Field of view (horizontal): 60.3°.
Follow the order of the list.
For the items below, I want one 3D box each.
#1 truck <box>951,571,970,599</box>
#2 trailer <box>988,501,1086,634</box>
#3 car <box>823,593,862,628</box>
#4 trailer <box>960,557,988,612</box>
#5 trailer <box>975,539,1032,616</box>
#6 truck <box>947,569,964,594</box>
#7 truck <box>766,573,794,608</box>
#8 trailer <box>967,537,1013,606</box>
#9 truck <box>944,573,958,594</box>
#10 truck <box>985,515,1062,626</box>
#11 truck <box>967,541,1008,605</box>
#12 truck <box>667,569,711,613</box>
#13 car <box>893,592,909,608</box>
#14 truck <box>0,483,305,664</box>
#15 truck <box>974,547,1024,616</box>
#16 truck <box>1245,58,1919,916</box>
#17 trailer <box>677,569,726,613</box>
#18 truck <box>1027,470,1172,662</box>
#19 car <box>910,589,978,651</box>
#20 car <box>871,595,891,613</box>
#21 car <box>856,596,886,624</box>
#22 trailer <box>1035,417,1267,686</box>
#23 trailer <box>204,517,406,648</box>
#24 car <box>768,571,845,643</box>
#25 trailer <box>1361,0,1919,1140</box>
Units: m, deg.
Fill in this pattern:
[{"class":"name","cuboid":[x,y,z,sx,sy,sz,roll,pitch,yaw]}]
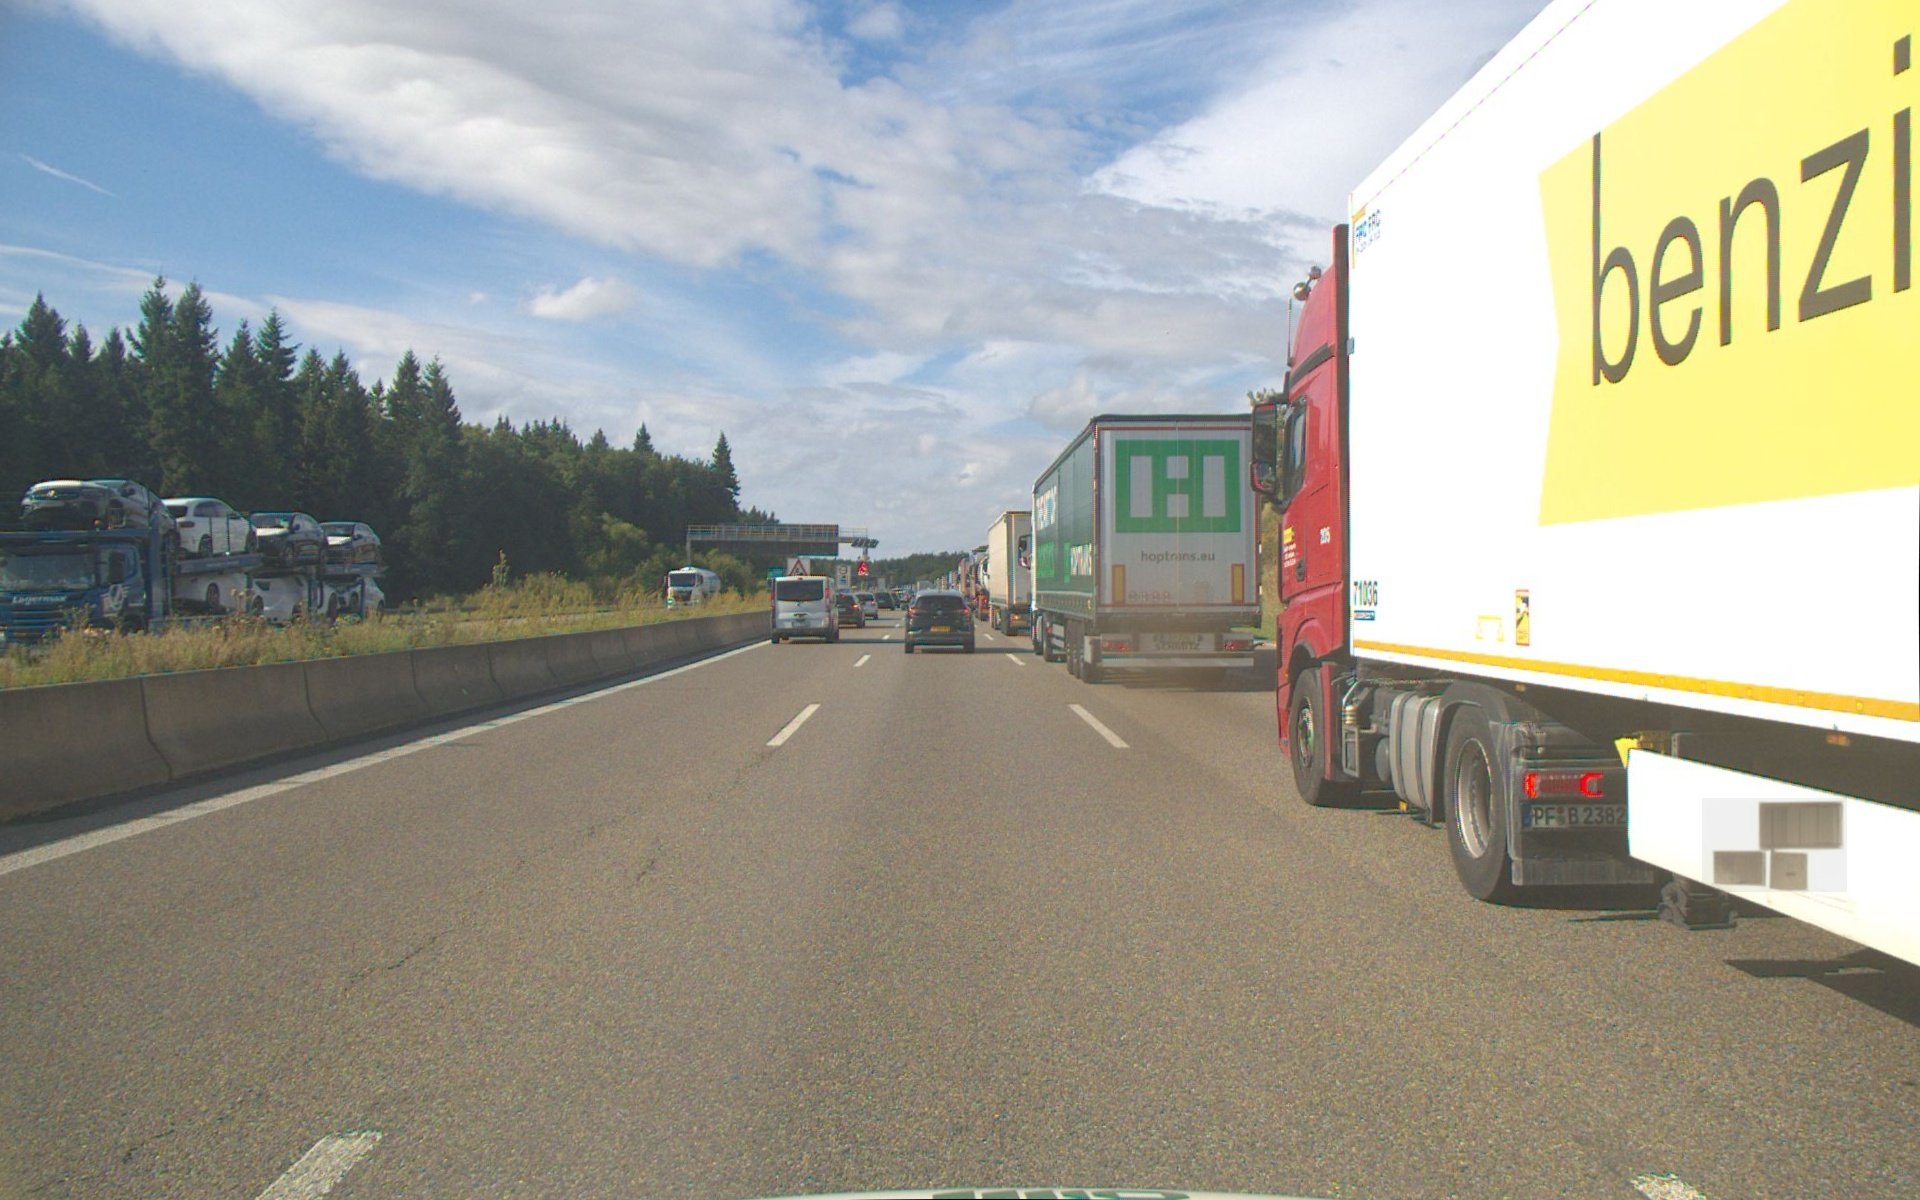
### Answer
[{"class":"truck","cuboid":[-0.007,-1.639,182.868,1.953,2.983,4.981,3,0,0]},{"class":"trailer","cuboid":[2.547,-1.077,58.938,2.648,4.153,12.942,-1,0,-1]},{"class":"car","cuboid":[-4.946,0.419,70.092,1.469,1.420,3.475,0,0,-1]},{"class":"trailer","cuboid":[1.091,-1.208,133.971,2.106,4.333,8.439,0,0,0]},{"class":"trailer","cuboid":[2.164,-1.084,85.441,2.489,3.717,10.625,-1,0,-1]},{"class":"truck","cuboid":[-0.605,-2.313,210.195,1.953,3.105,4.981,3,0,0]},{"class":"truck","cuboid":[-22.693,-1.142,209.176,2.656,4.318,10.341,-1,0,-2]},{"class":"trailer","cuboid":[1.920,-1.825,110.477,2.745,4.318,11.056,-1,0,0]},{"class":"truck","cuboid":[-1.392,-2.573,254.511,1.953,3.105,4.981,3,0,0]},{"class":"truck","cuboid":[2.451,-1.114,65.641,2.653,4.130,6.360,-1,0,-1]},{"class":"truck","cuboid":[1.884,-1.828,115.554,2.729,4.321,6.459,-1,0,0]},{"class":"truck","cuboid":[-20.612,-0.680,126.158,2.270,3.331,6.105,0,0,0]},{"class":"car","cuboid":[-5.312,-0.010,149.275,1.406,1.333,3.532,3,0,-1]},{"class":"truck","cuboid":[-19.361,-0.552,40.067,2.774,3.753,11.129,0,0,-1]},{"class":"truck","cuboid":[2.081,-1.008,91.267,2.482,3.646,6.728,-1,0,-1]},{"class":"truck","cuboid":[3.783,-0.521,10.697,2.745,4.008,5.824,1,0,-1]},{"class":"trailer","cuboid":[-20.587,-0.705,132.173,2.274,3.342,10.875,0,0,0]},{"class":"truck","cuboid":[3.010,-0.702,37.505,2.593,3.936,6.995,0,0,-1]},{"class":"car","cuboid":[-0.419,0.496,42.505,1.662,1.509,4.159,0,0,-1]},{"class":"car","cuboid":[-6.196,0.277,129.972,1.406,1.333,3.532,3,0,-1]},{"class":"car","cuboid":[-4.828,0.536,89.910,1.469,1.420,3.475,3,0,-1]},{"class":"trailer","cuboid":[3.115,-0.711,31.004,2.607,3.936,13.392,0,0,-1]},{"class":"trailer","cuboid":[-19.586,-0.494,50.161,2.742,3.590,8.951,0,0,-1]},{"class":"car","cuboid":[-4.668,0.202,51.034,1.894,2.013,5.097,3,0,-1]},{"class":"trailer","cuboid":[3.894,-0.586,3.486,2.735,4.008,13.067,1,0,-1]}]
